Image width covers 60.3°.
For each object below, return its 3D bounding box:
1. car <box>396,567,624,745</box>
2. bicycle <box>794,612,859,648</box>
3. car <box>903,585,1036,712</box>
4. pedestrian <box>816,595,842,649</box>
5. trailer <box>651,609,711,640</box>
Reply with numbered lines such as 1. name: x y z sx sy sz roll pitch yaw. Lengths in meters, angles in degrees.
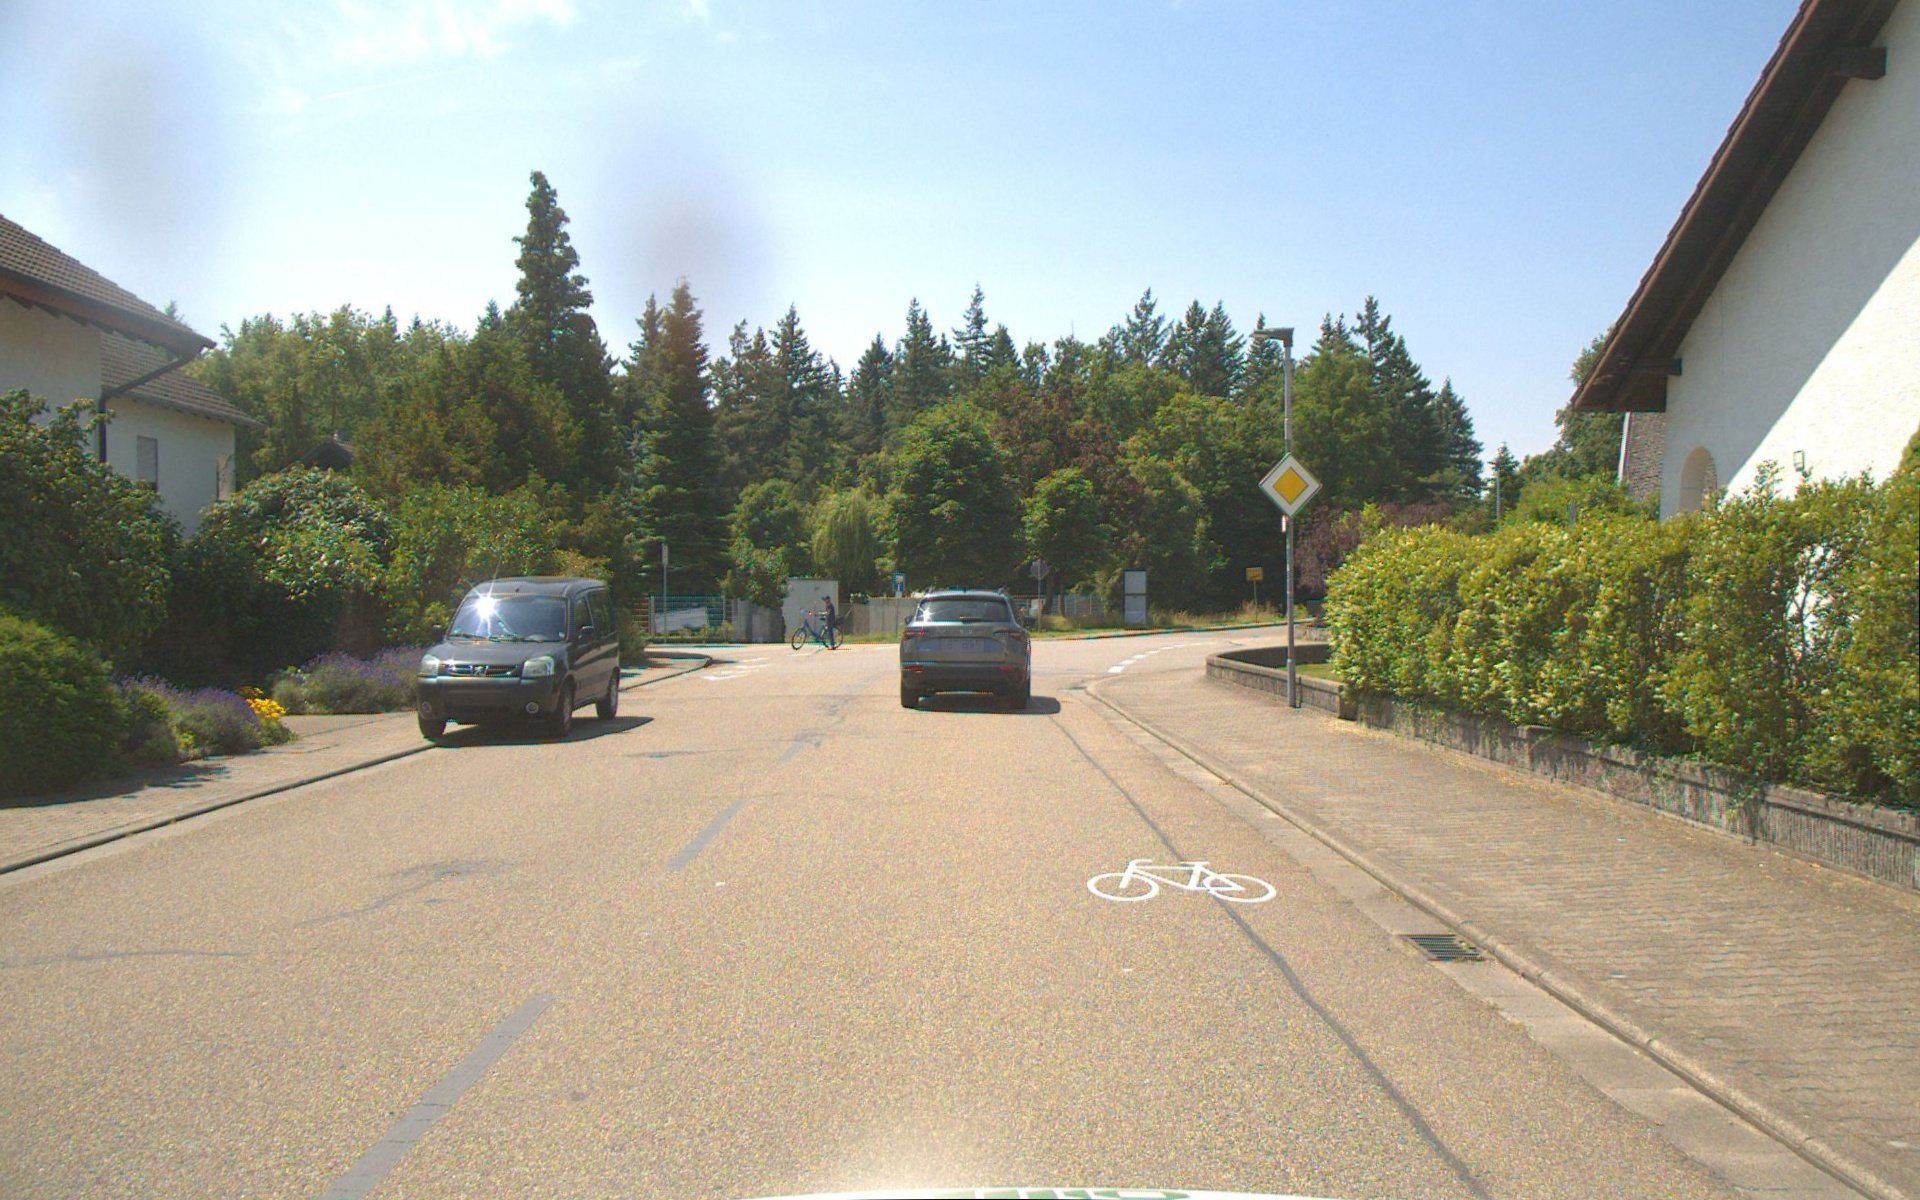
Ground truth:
1. car: -5.214 0.599 19.683 1.683 1.878 4.053 -1 0 -2
2. bicycle: -3.841 0.861 47.728 1.816 0.980 0.440 -1 0 -21
3. car: 0.072 0.644 23.817 1.727 1.646 3.999 1 0 -2
4. pedestrian: -3.742 0.636 47.244 0.601 1.527 0.501 0 0 -21
5. trailer: -10.515 0.910 62.373 2.174 1.103 1.104 -1 0 -9
